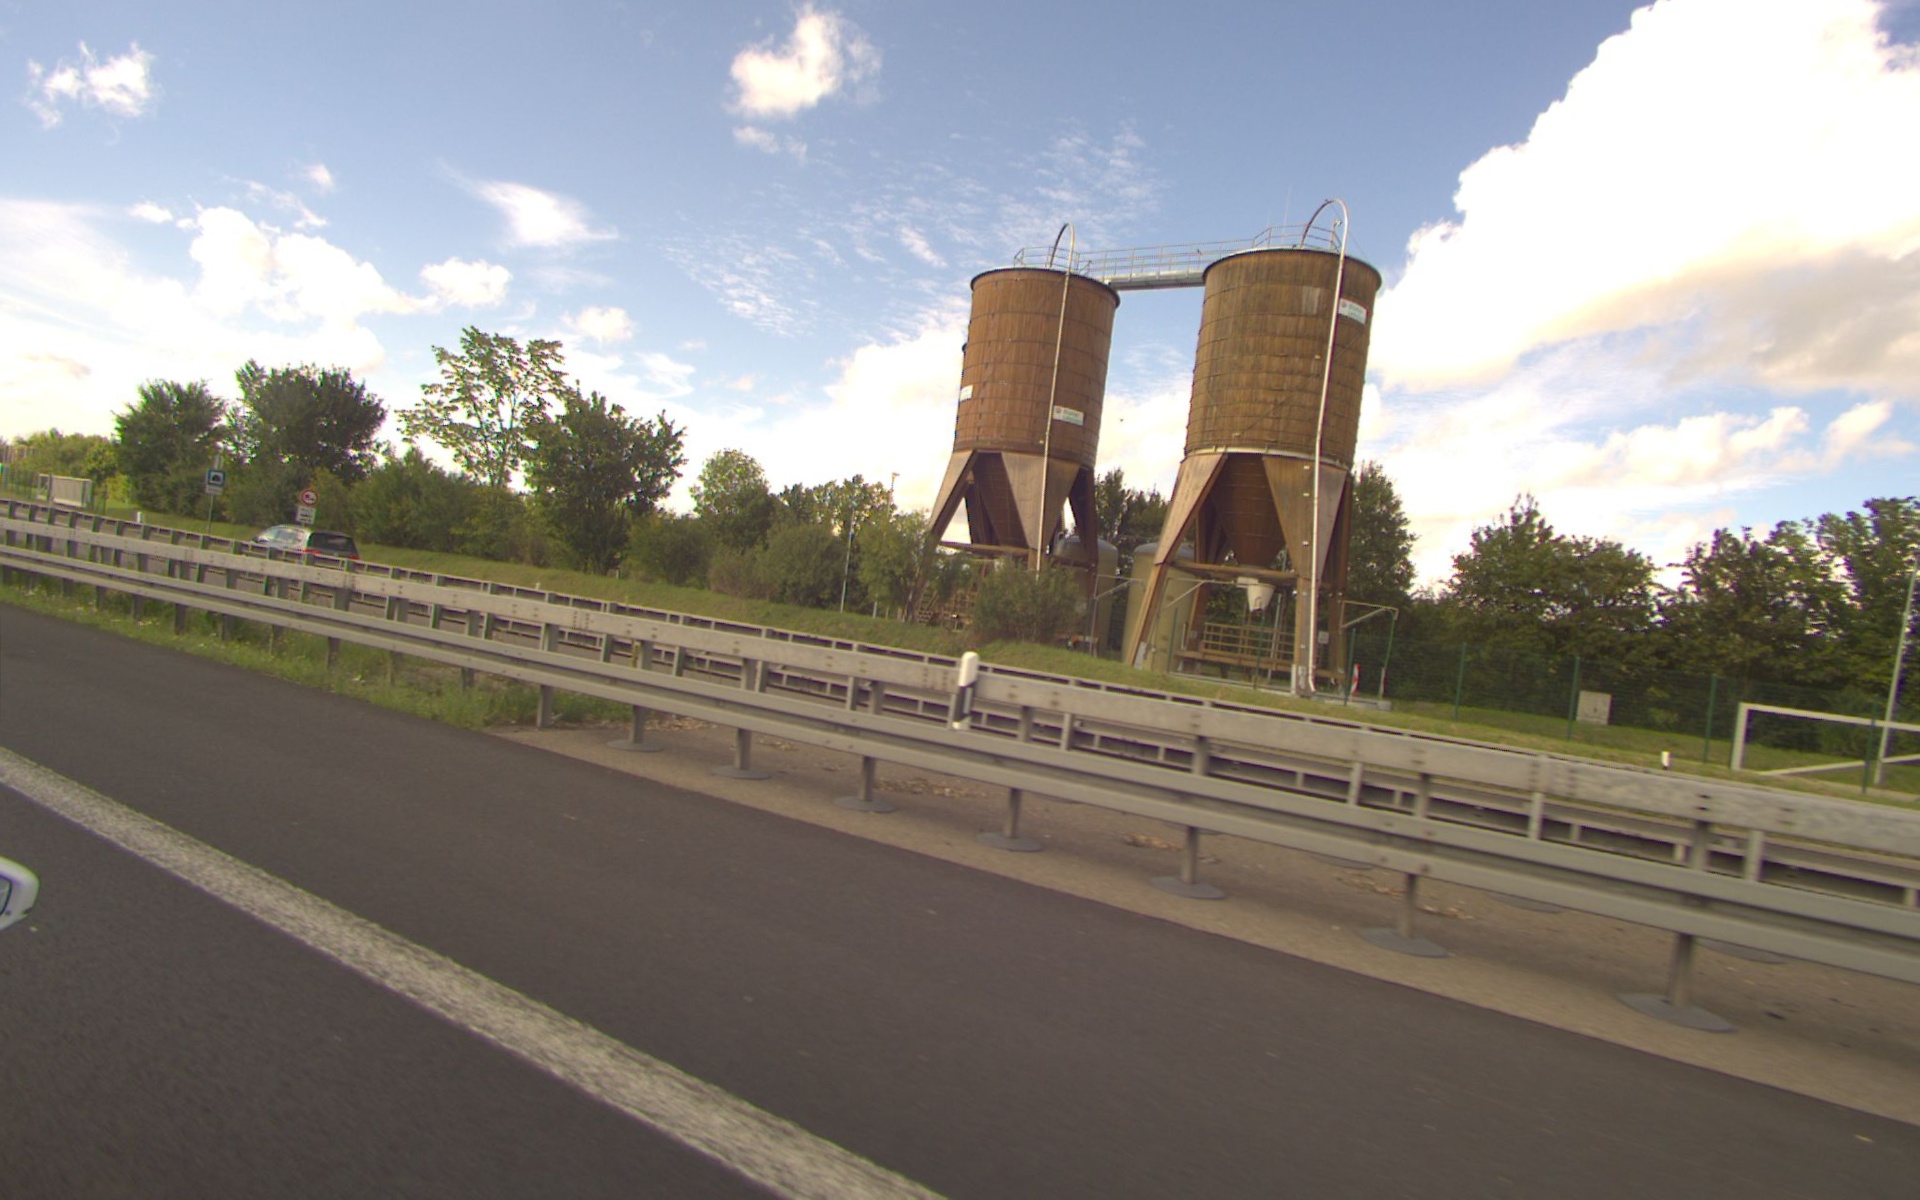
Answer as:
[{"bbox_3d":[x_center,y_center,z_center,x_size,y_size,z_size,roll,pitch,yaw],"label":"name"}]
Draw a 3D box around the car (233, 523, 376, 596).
[{"bbox_3d":[-19.823,-1.228,30.397,3.933,1.738,1.995,6,1,31],"label":"car"}]
